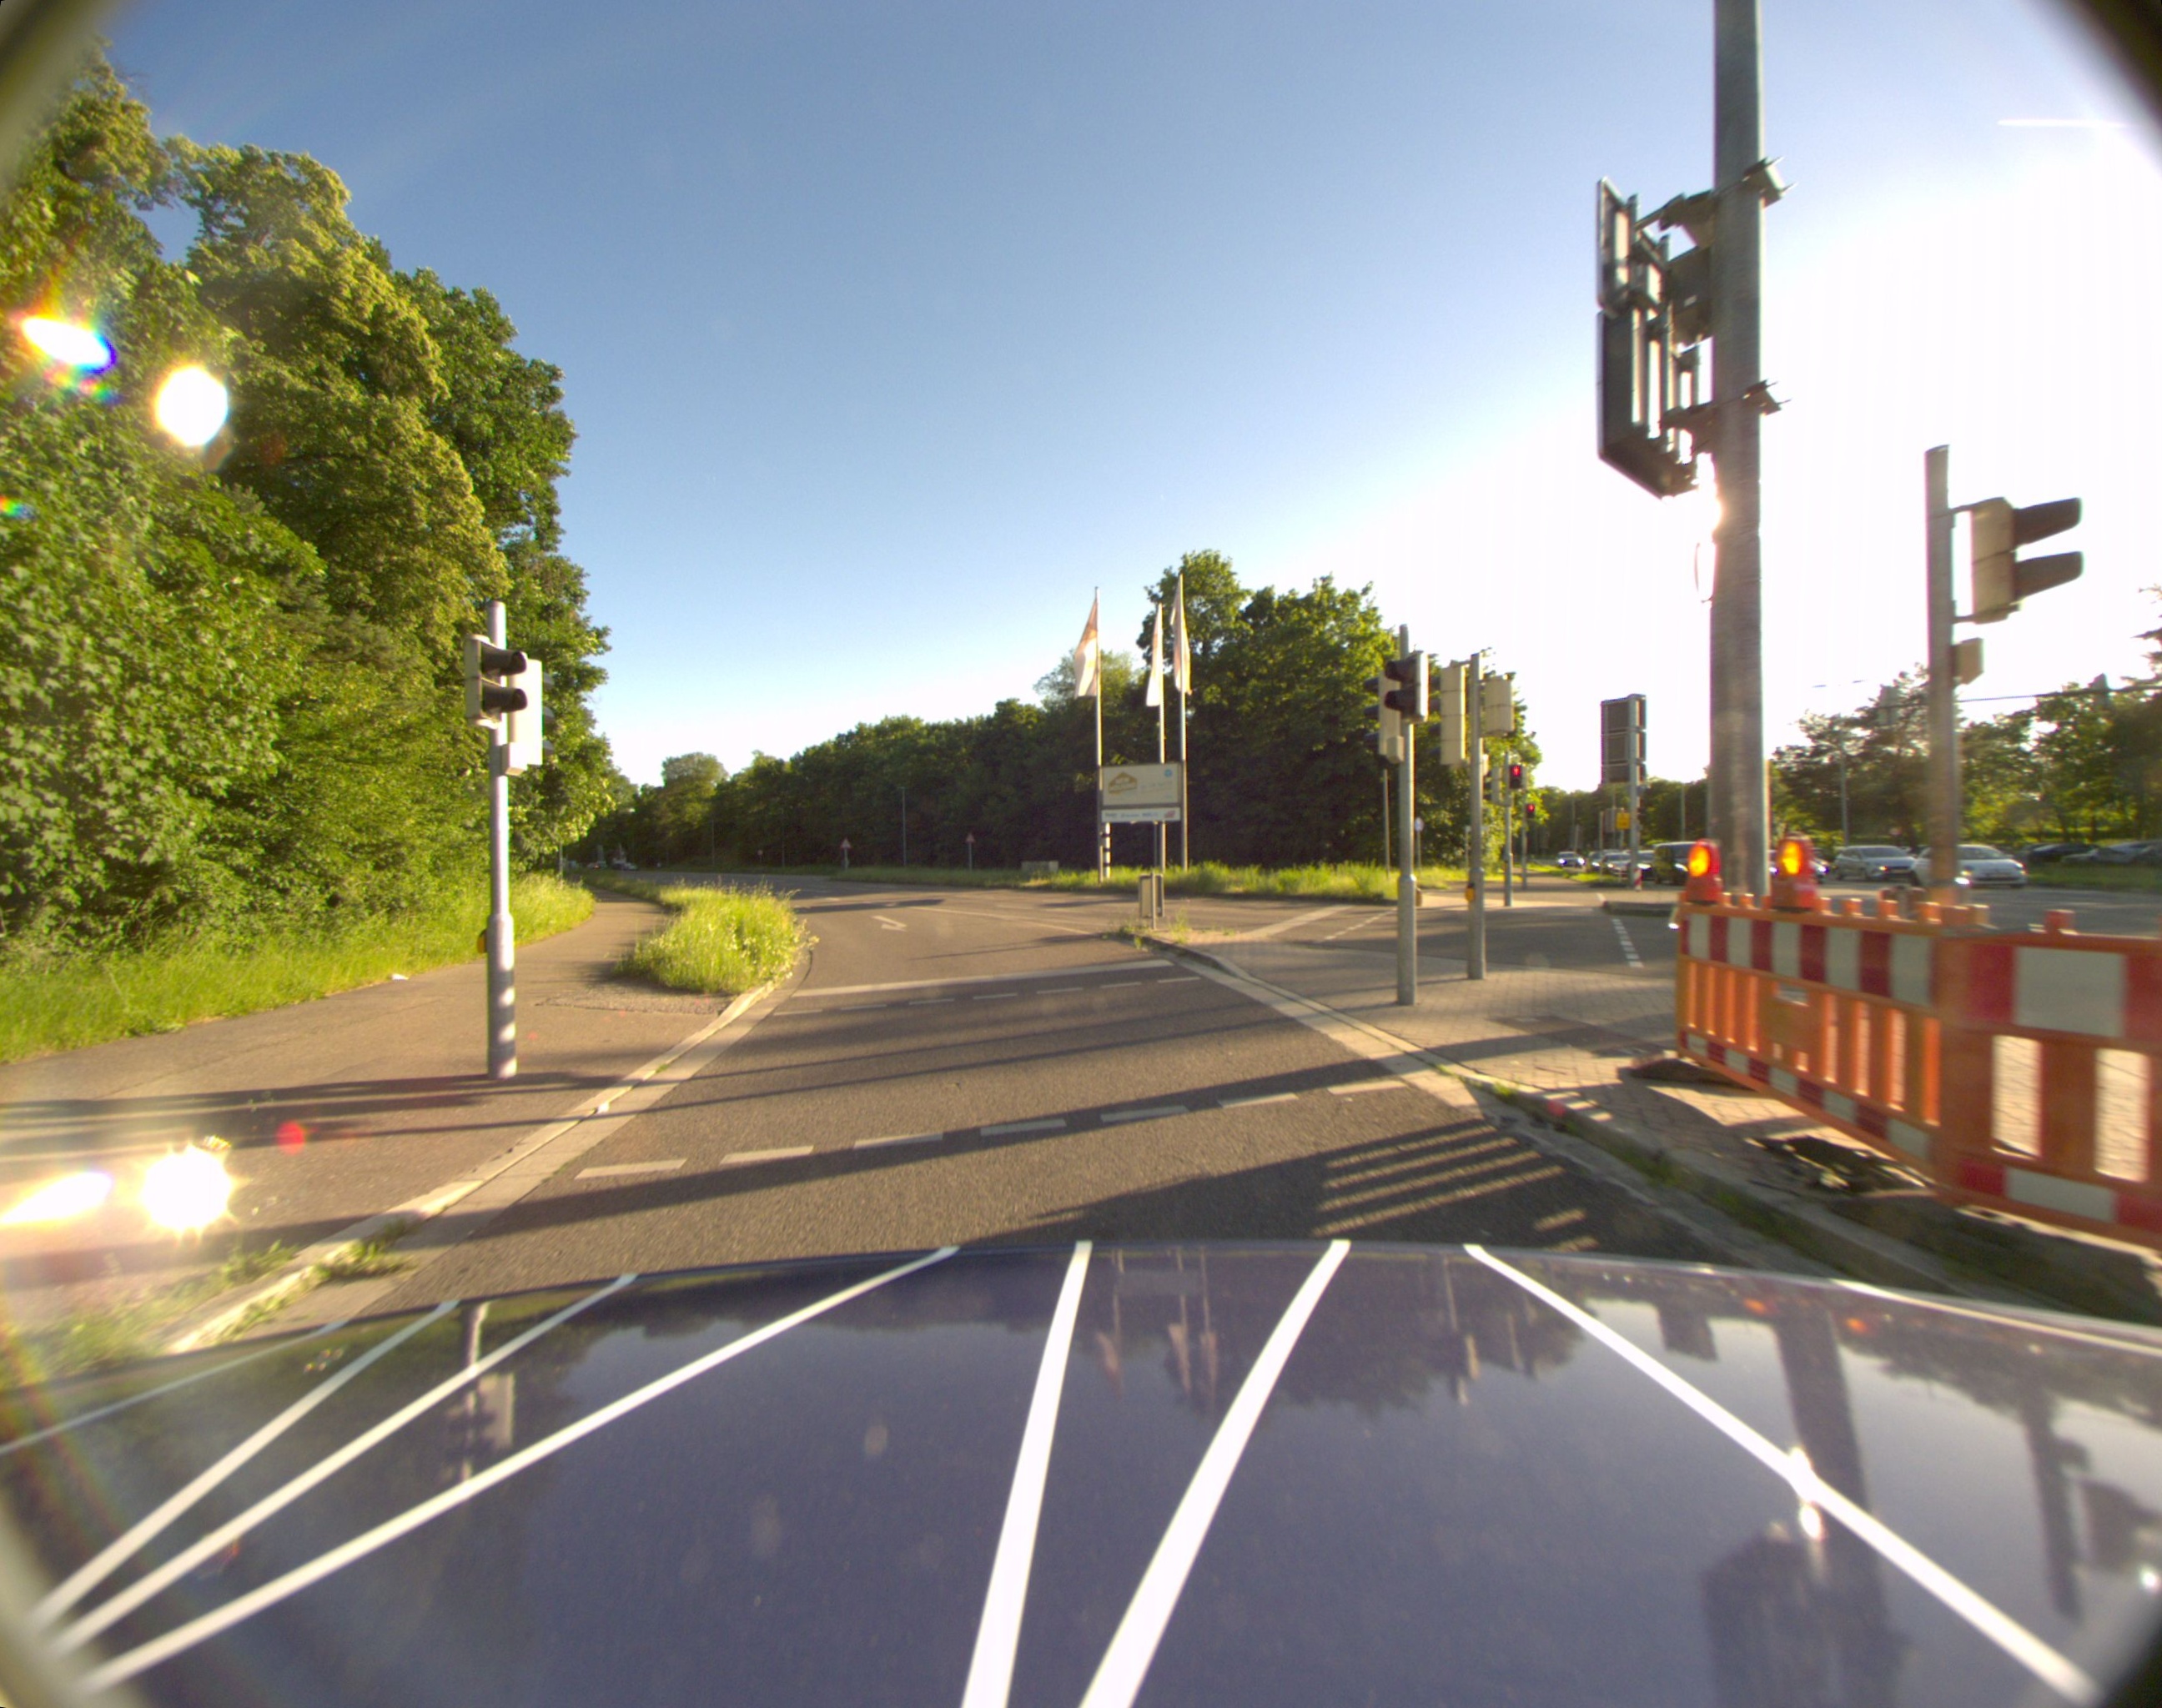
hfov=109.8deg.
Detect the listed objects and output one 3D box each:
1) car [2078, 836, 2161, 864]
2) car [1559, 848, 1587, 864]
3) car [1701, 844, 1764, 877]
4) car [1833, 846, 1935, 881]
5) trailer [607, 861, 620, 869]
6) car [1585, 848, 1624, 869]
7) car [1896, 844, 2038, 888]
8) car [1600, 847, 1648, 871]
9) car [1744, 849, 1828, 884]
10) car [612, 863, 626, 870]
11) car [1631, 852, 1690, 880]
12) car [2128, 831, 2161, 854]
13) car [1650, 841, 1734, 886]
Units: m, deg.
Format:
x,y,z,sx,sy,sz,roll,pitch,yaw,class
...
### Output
x,y,z,sx,sy,sz,roll,pitch,yaw,class
62.873,-0.236,45.164,3.989,1.610,1.947,-1,1,37,car
45.223,0.187,69.913,1.849,1.381,3.806,-1,0,28,car
32.996,0.297,38.566,1.643,1.617,4.007,-1,1,29,car
33.675,0.379,31.998,1.849,1.381,3.806,-1,0,28,car
-98.254,2.308,159.751,1.811,1.719,3.637,0,0,-40,trailer
37.058,0.300,53.828,1.849,1.381,3.806,-1,0,28,car
30.368,0.373,26.221,1.923,1.381,3.806,-1,0,28,car
33.011,0.301,46.293,1.849,1.381,3.806,-1,0,28,car
29.548,0.495,31.972,1.643,1.381,3.806,-1,0,28,car
-94.561,2.588,155.532,1.920,1.455,4.001,0,0,-40,car
30.737,0.594,40.403,1.849,1.381,3.806,-1,0,28,car
74.907,-0.828,51.692,3.960,1.590,1.817,-1,0,40,car
26.469,0.365,33.079,1.923,1.819,4.942,-1,0,28,car
